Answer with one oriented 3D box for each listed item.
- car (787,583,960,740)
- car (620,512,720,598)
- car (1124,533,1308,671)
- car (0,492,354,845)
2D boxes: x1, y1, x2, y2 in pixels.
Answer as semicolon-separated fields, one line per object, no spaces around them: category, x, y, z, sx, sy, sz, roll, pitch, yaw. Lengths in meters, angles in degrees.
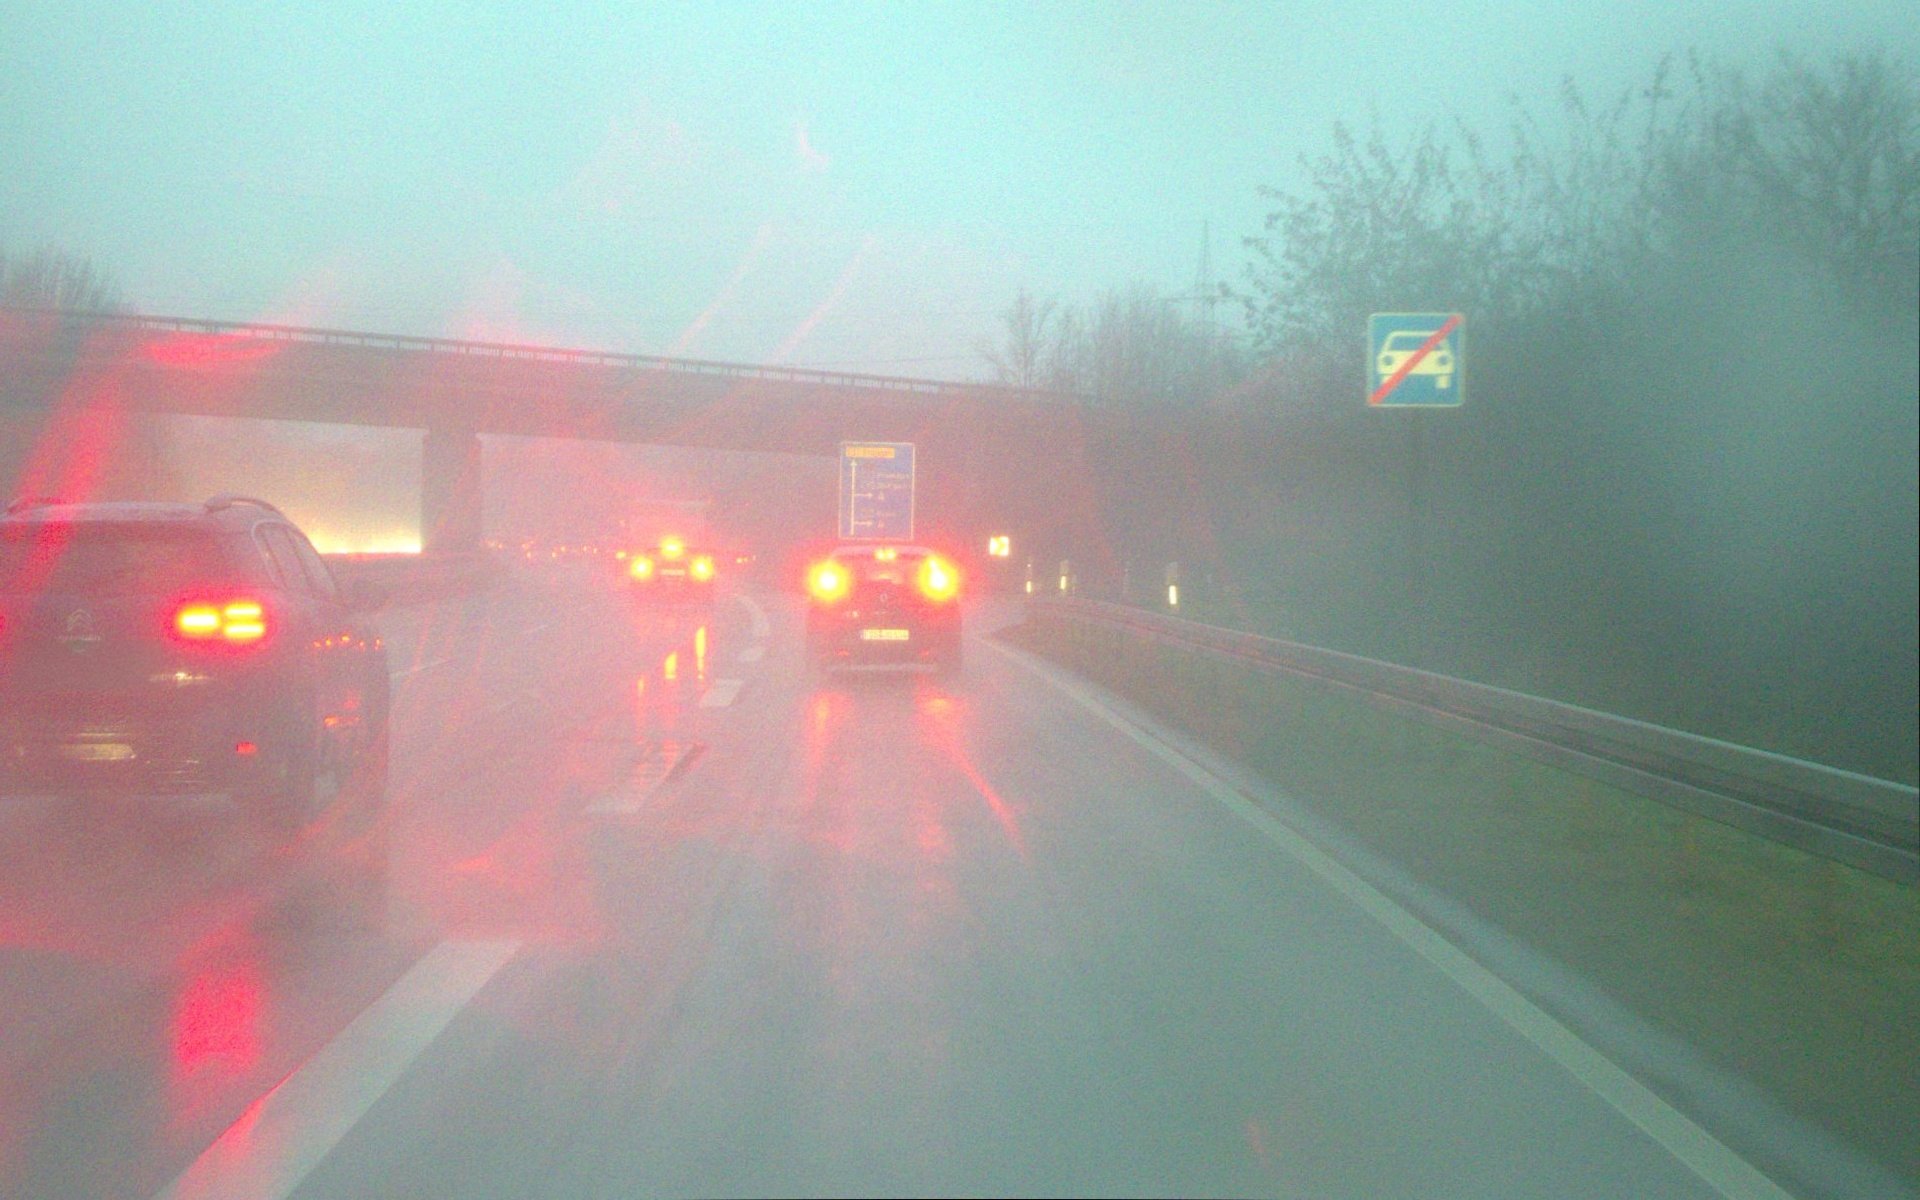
car;-0.928;0.651;38.569;1.732;1.424;3.766;0;4;2
car;-6.092;-0.978;72.537;1.878;1.611;3.875;2;3;-2
car;2.735;0.018;37.410;1.683;1.413;3.874;0;0;0
car;-4.325;0.281;18.177;1.993;1.659;4.001;0;1;-7
